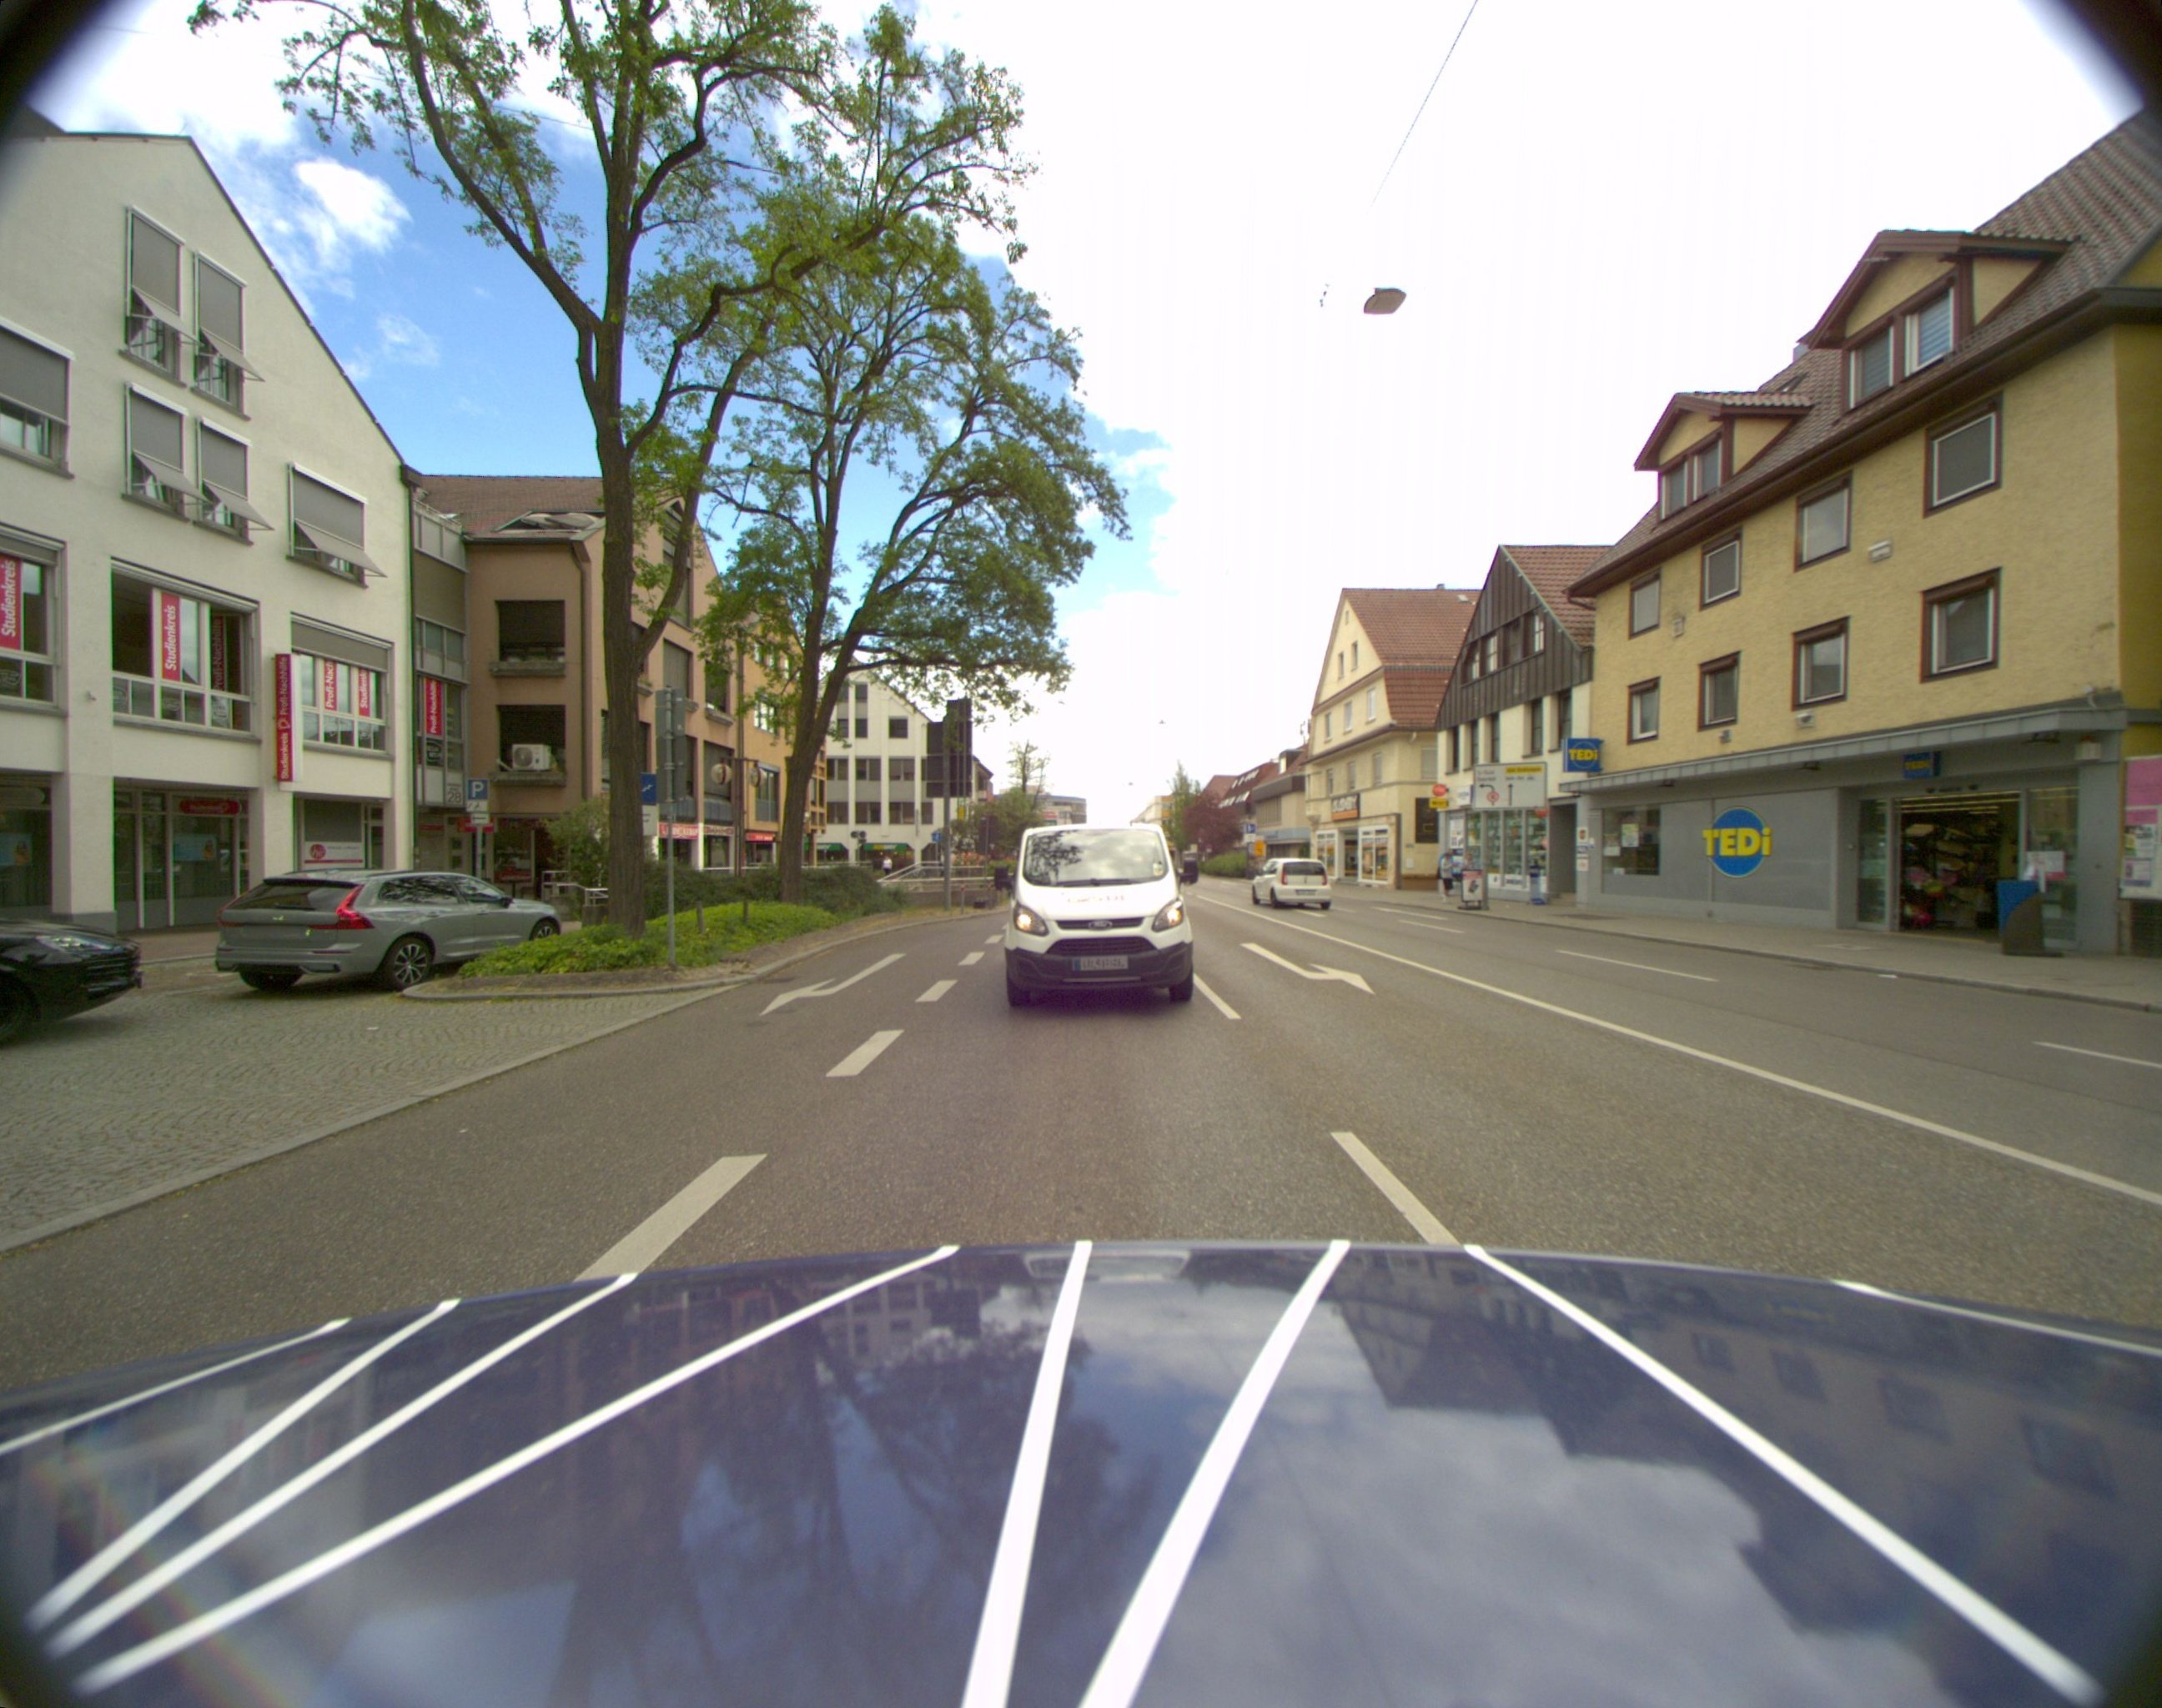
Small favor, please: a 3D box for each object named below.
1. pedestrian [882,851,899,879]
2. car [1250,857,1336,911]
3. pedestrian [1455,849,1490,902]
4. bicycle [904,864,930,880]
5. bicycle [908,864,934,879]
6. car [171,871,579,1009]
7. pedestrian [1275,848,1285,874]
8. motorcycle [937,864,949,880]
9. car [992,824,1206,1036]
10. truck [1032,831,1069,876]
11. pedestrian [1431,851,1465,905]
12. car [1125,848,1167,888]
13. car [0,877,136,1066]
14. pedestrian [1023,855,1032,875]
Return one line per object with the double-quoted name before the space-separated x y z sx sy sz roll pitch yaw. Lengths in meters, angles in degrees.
"pedestrian" -12.710 0.703 50.760 0.871 1.812 0.785 -2 1 -3
"car" 6.191 0.829 22.507 1.578 1.480 3.464 0 0 0
"pedestrian" 12.791 0.696 24.837 0.689 1.660 0.709 -3 0 0
"bicycle" -10.428 1.136 48.305 1.594 0.996 0.414 0 0 -13
"bicycle" -10.322 1.121 48.952 1.594 0.963 0.461 0 0 -14
"car" -10.296 1.120 11.782 1.999 1.586 4.762 0 0 -2
"pedestrian" 15.043 0.527 57.482 0.551 1.877 0.592 -2 0 -4
"motorcycle" -9.858 1.289 54.260 0.464 1.062 1.996 0 0 1
"car" 0.176 0.709 9.616 1.964 1.948 5.164 0 0 0
"truck" -2.457 -0.079 63.359 2.446 3.464 8.347 -2 1 1
"pedestrian" 11.774 0.761 24.388 0.689 1.680 0.742 -2 0 0
"car" 3.313 0.686 39.343 1.830 1.947 4.852 0 0 1
"car" -11.628 1.082 6.297 1.853 1.660 4.674 1 0 41
"pedestrian" -4.280 0.864 61.001 0.653 1.568 0.684 -1 0 1
